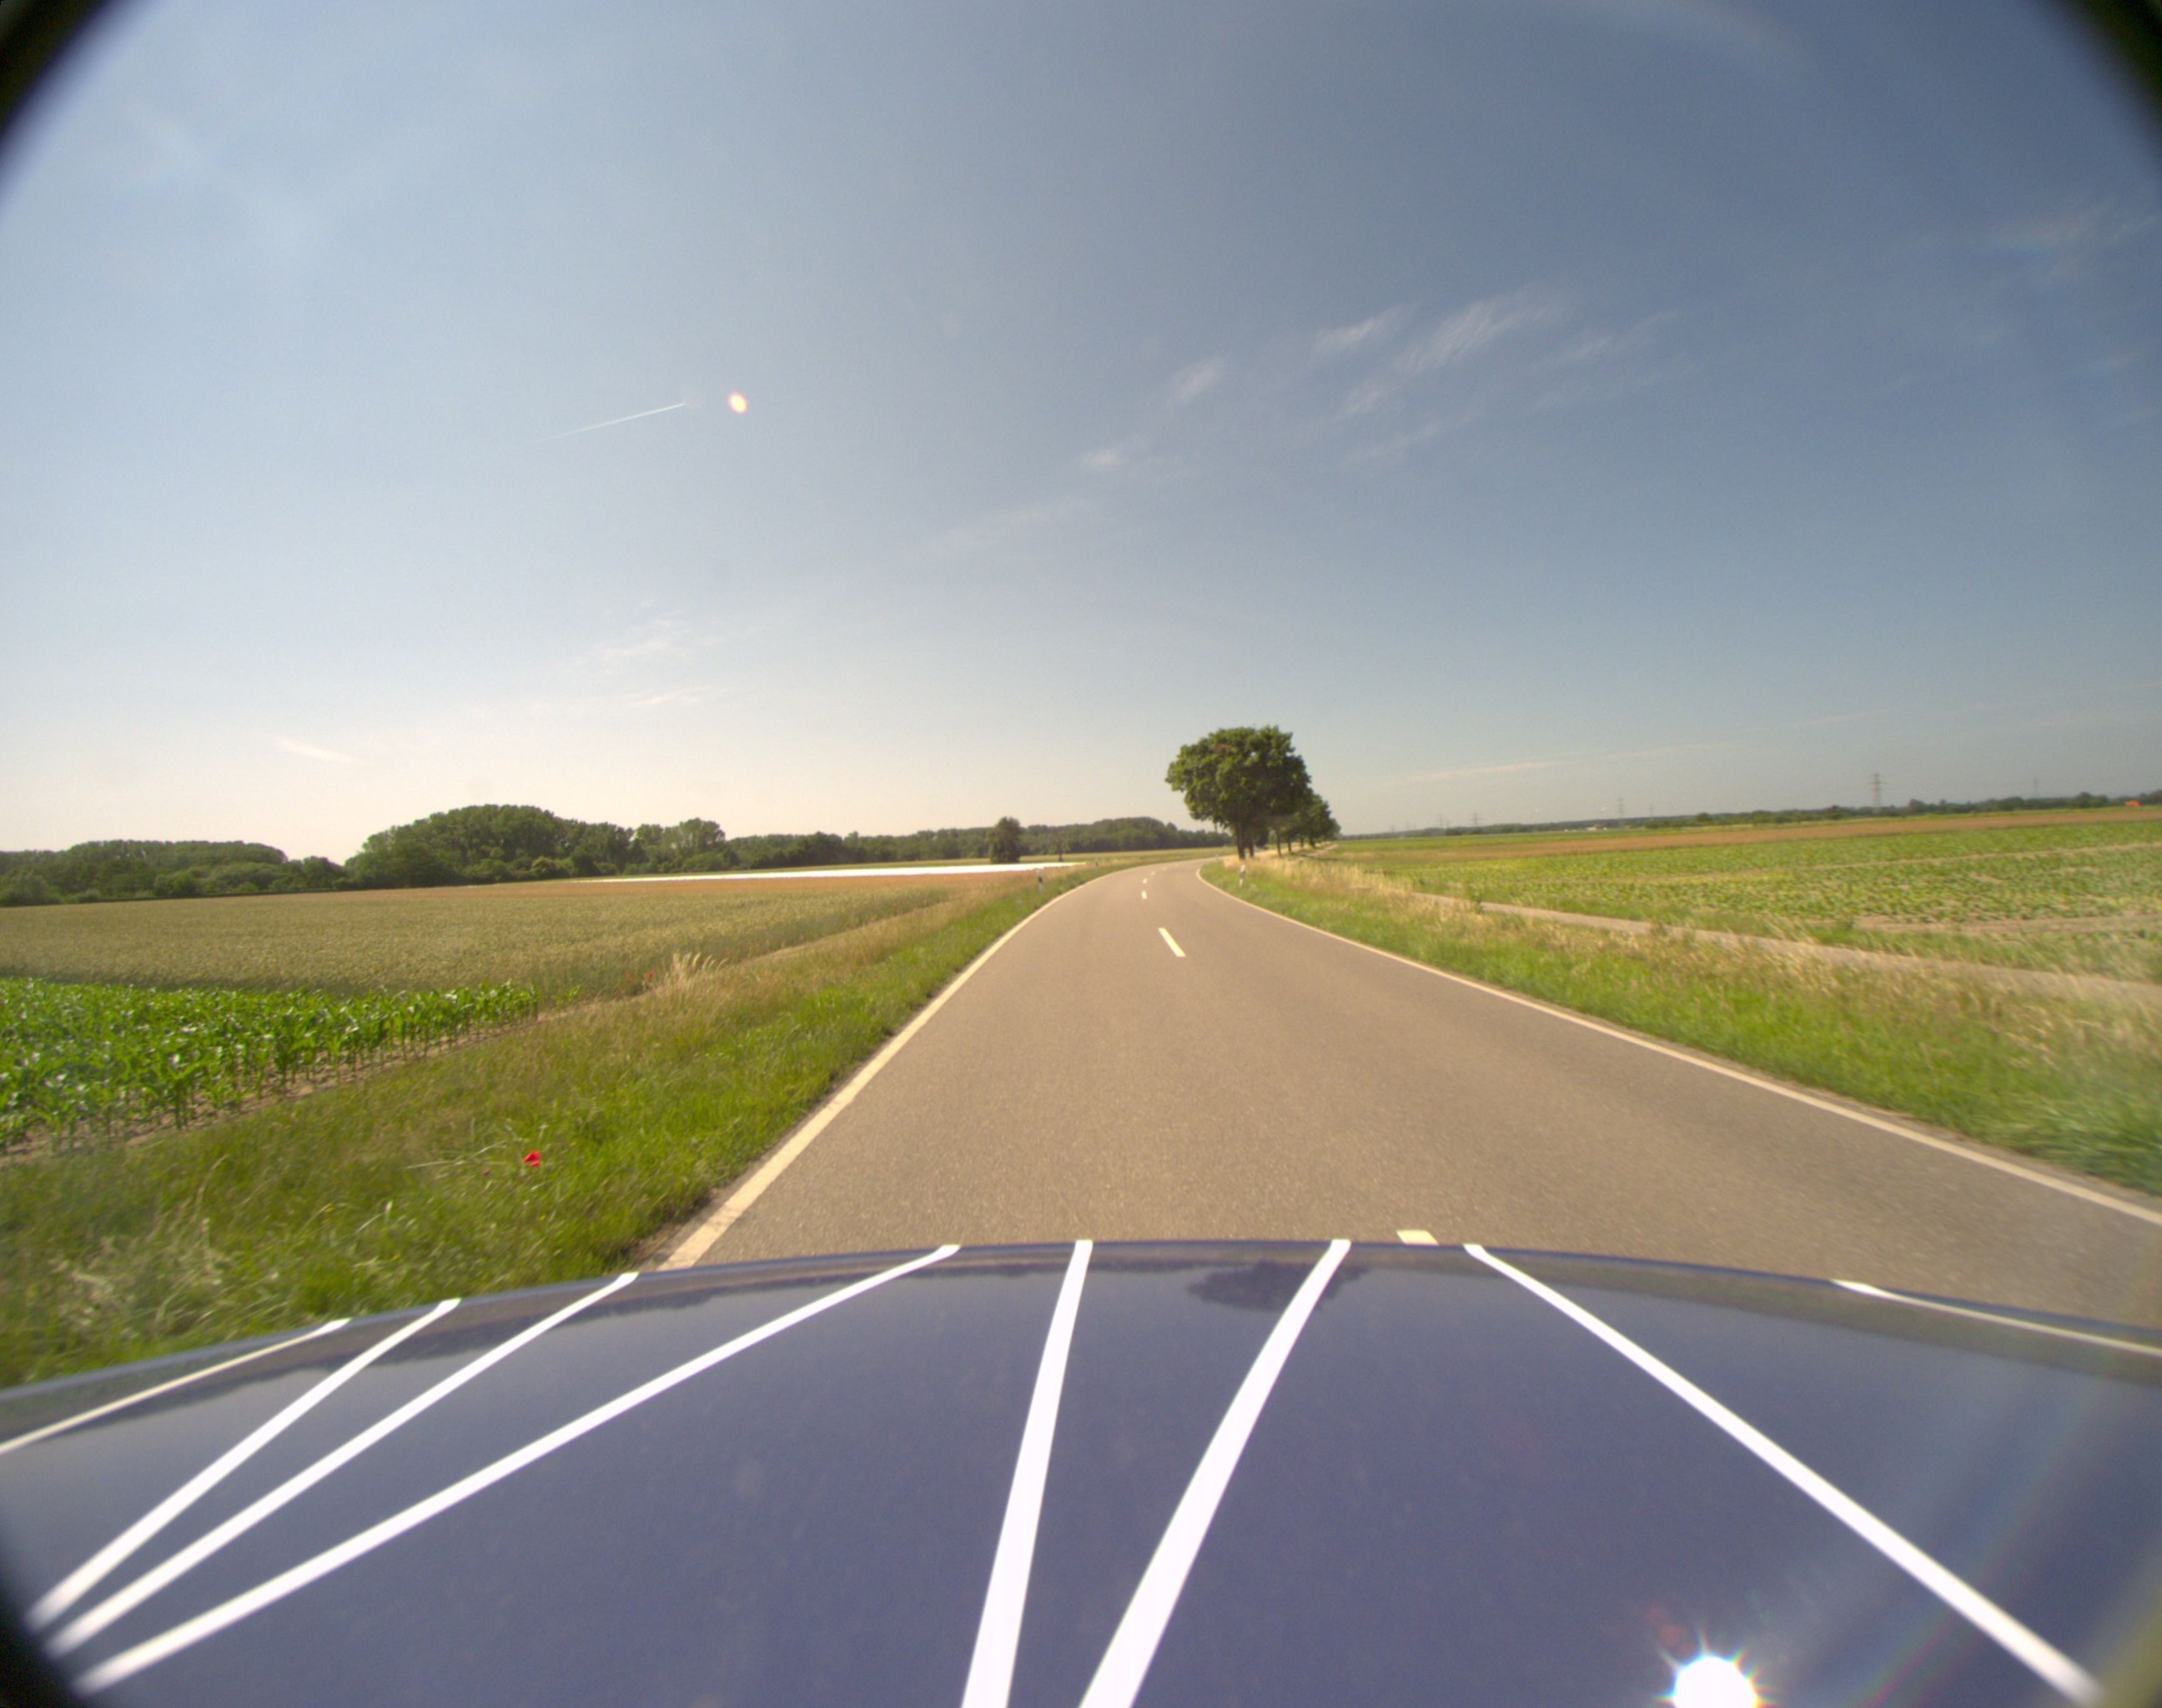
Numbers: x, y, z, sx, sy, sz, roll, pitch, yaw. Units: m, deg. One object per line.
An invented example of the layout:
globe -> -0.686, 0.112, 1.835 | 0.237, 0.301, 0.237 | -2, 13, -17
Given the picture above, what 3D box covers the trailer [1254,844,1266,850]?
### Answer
trailer -> 31.472, -1.297, 133.487 | 1.624, 1.059, 4.124 | 1, 1, 20
